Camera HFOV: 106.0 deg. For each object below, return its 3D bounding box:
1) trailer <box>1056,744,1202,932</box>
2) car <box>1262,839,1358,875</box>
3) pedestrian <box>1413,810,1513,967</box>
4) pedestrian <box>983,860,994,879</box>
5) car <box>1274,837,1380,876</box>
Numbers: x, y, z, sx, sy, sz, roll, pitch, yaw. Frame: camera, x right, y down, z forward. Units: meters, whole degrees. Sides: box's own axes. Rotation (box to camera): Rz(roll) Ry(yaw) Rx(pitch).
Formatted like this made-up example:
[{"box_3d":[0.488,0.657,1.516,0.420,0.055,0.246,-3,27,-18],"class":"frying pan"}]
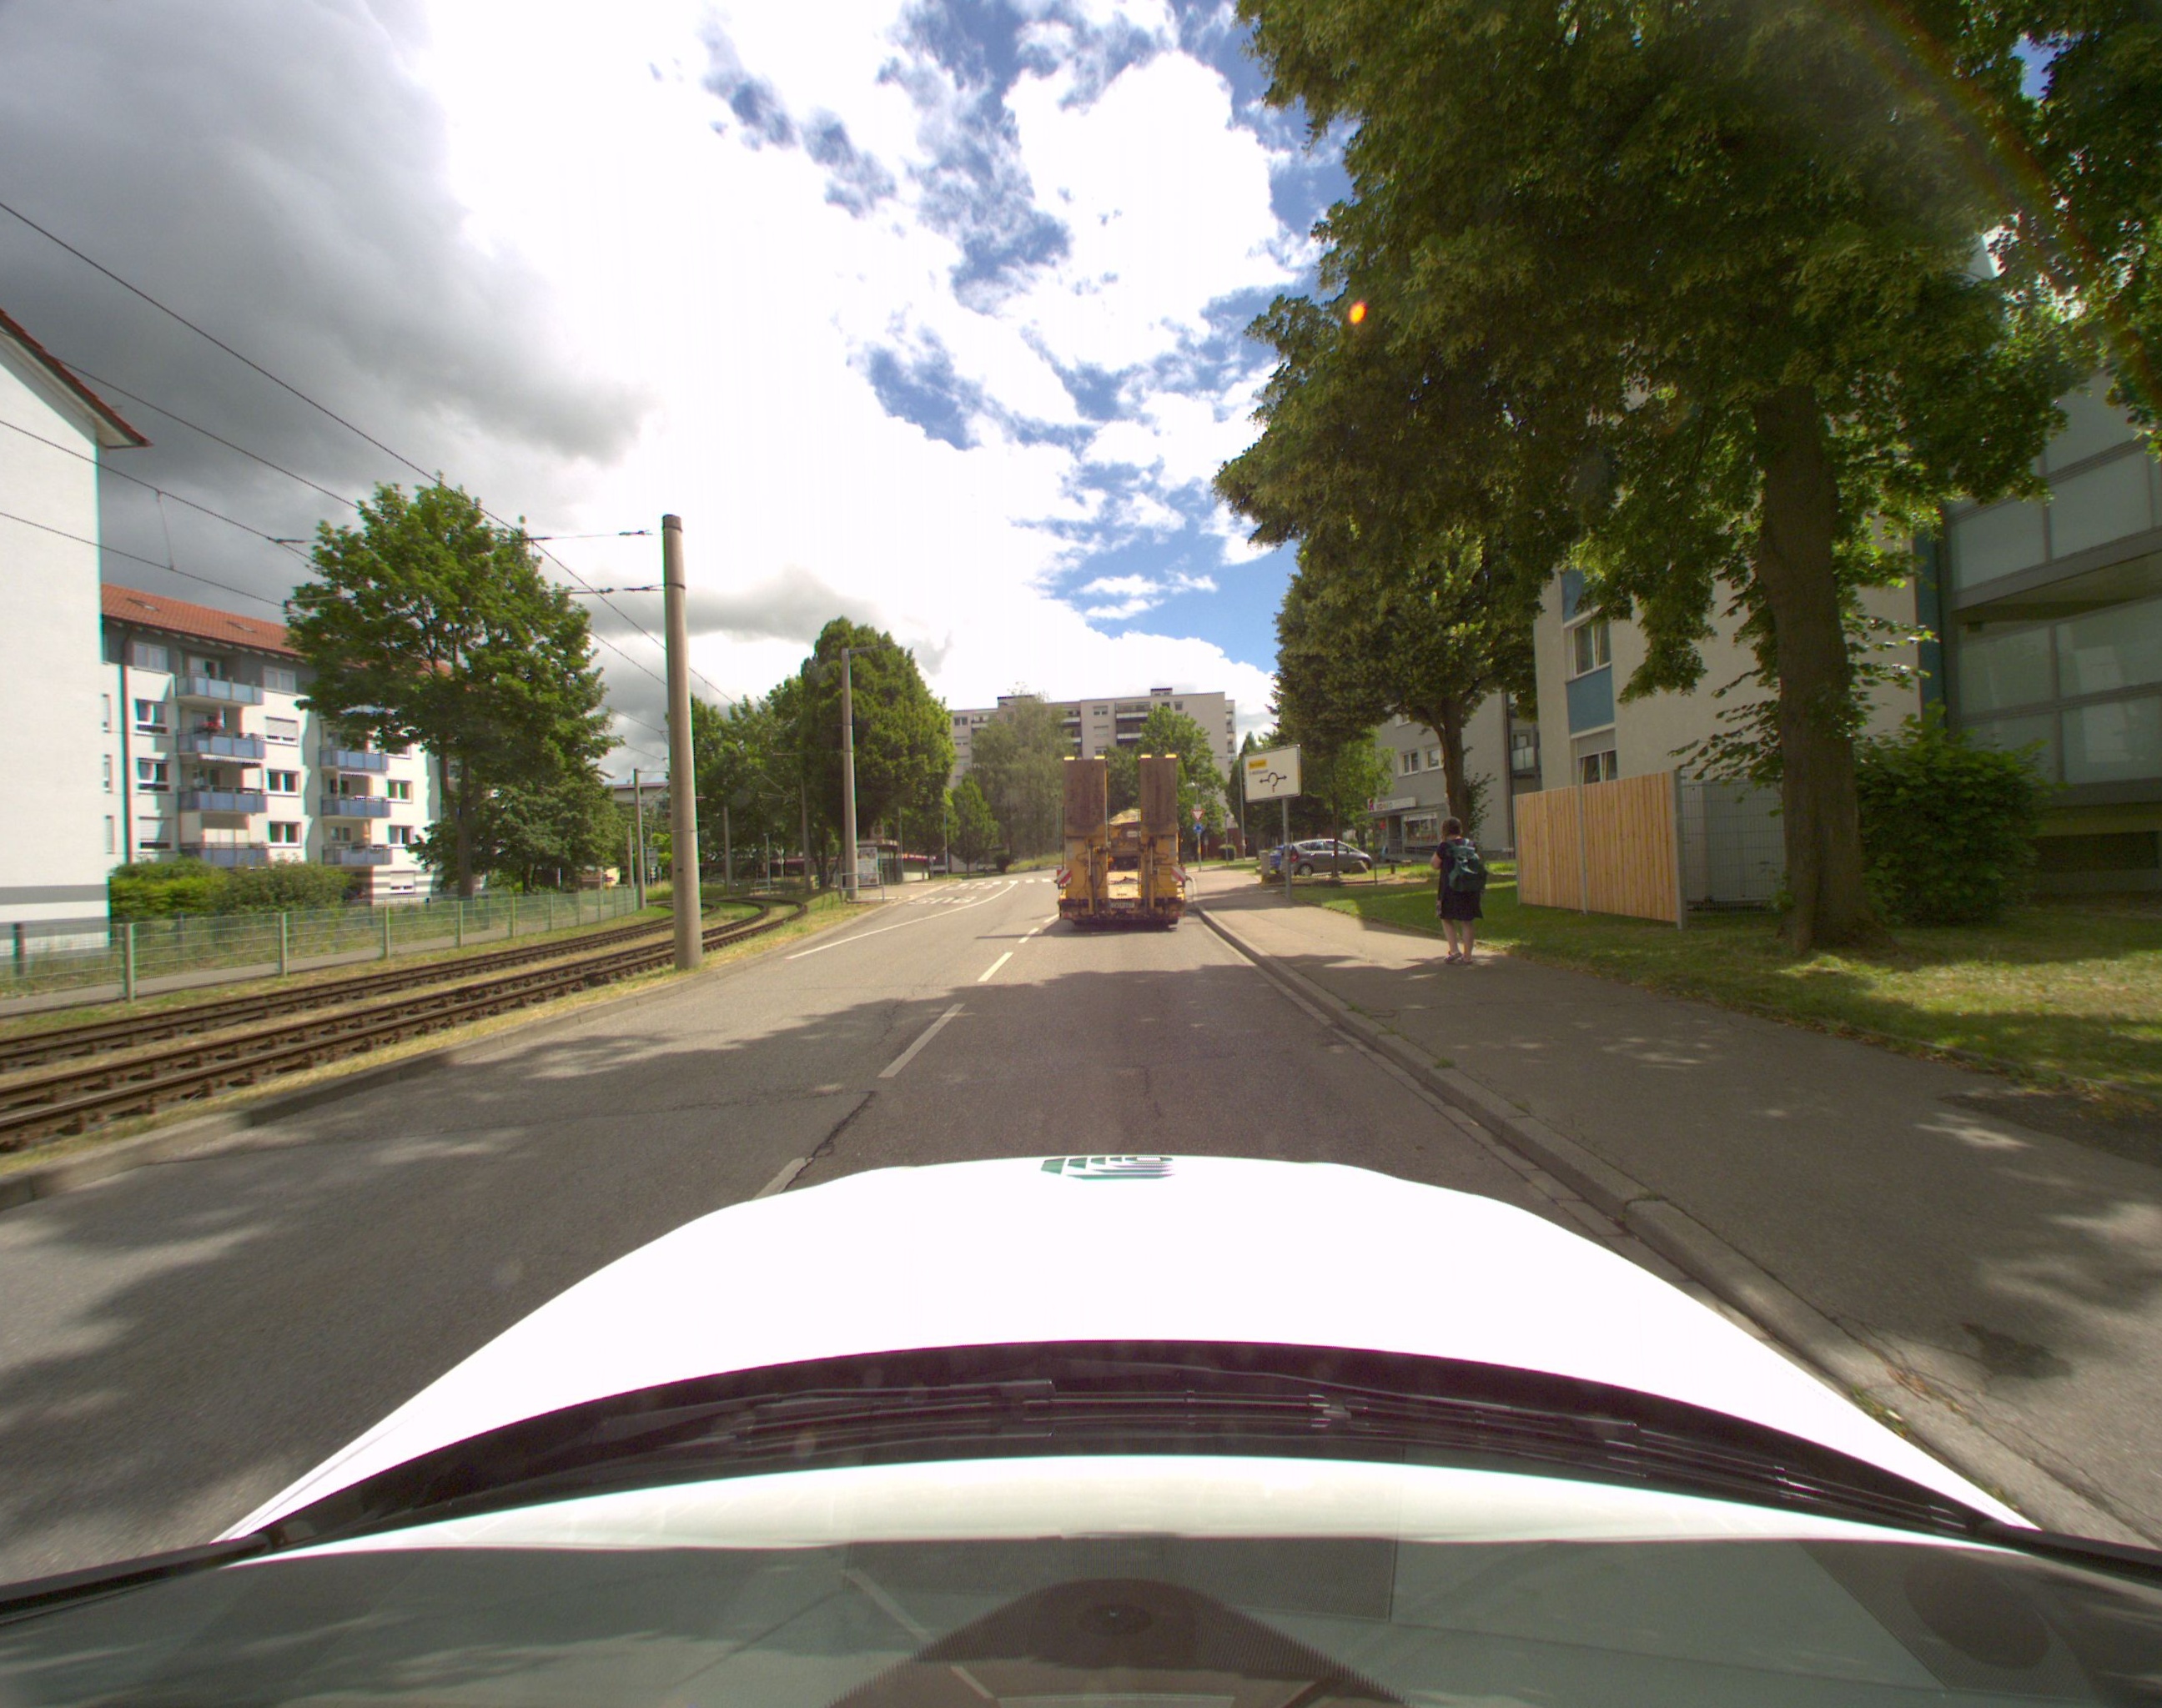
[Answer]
[{"box_3d":[1.376,-0.322,22.201,2.815,3.646,12.367,-1,0,4],"class":"trailer"},{"box_3d":[10.707,0.131,38.194,3.988,1.561,1.753,-1,0,-11],"class":"car"},{"box_3d":[4.412,0.377,9.451,0.715,1.706,0.766,-4,0,1],"class":"pedestrian"},{"box_3d":[-10.027,1.715,88.193,0.913,2.013,0.953,-1,0,-29],"class":"pedestrian"},{"box_3d":[10.451,0.092,34.737,3.988,1.561,1.753,-1,0,-11],"class":"car"}]
